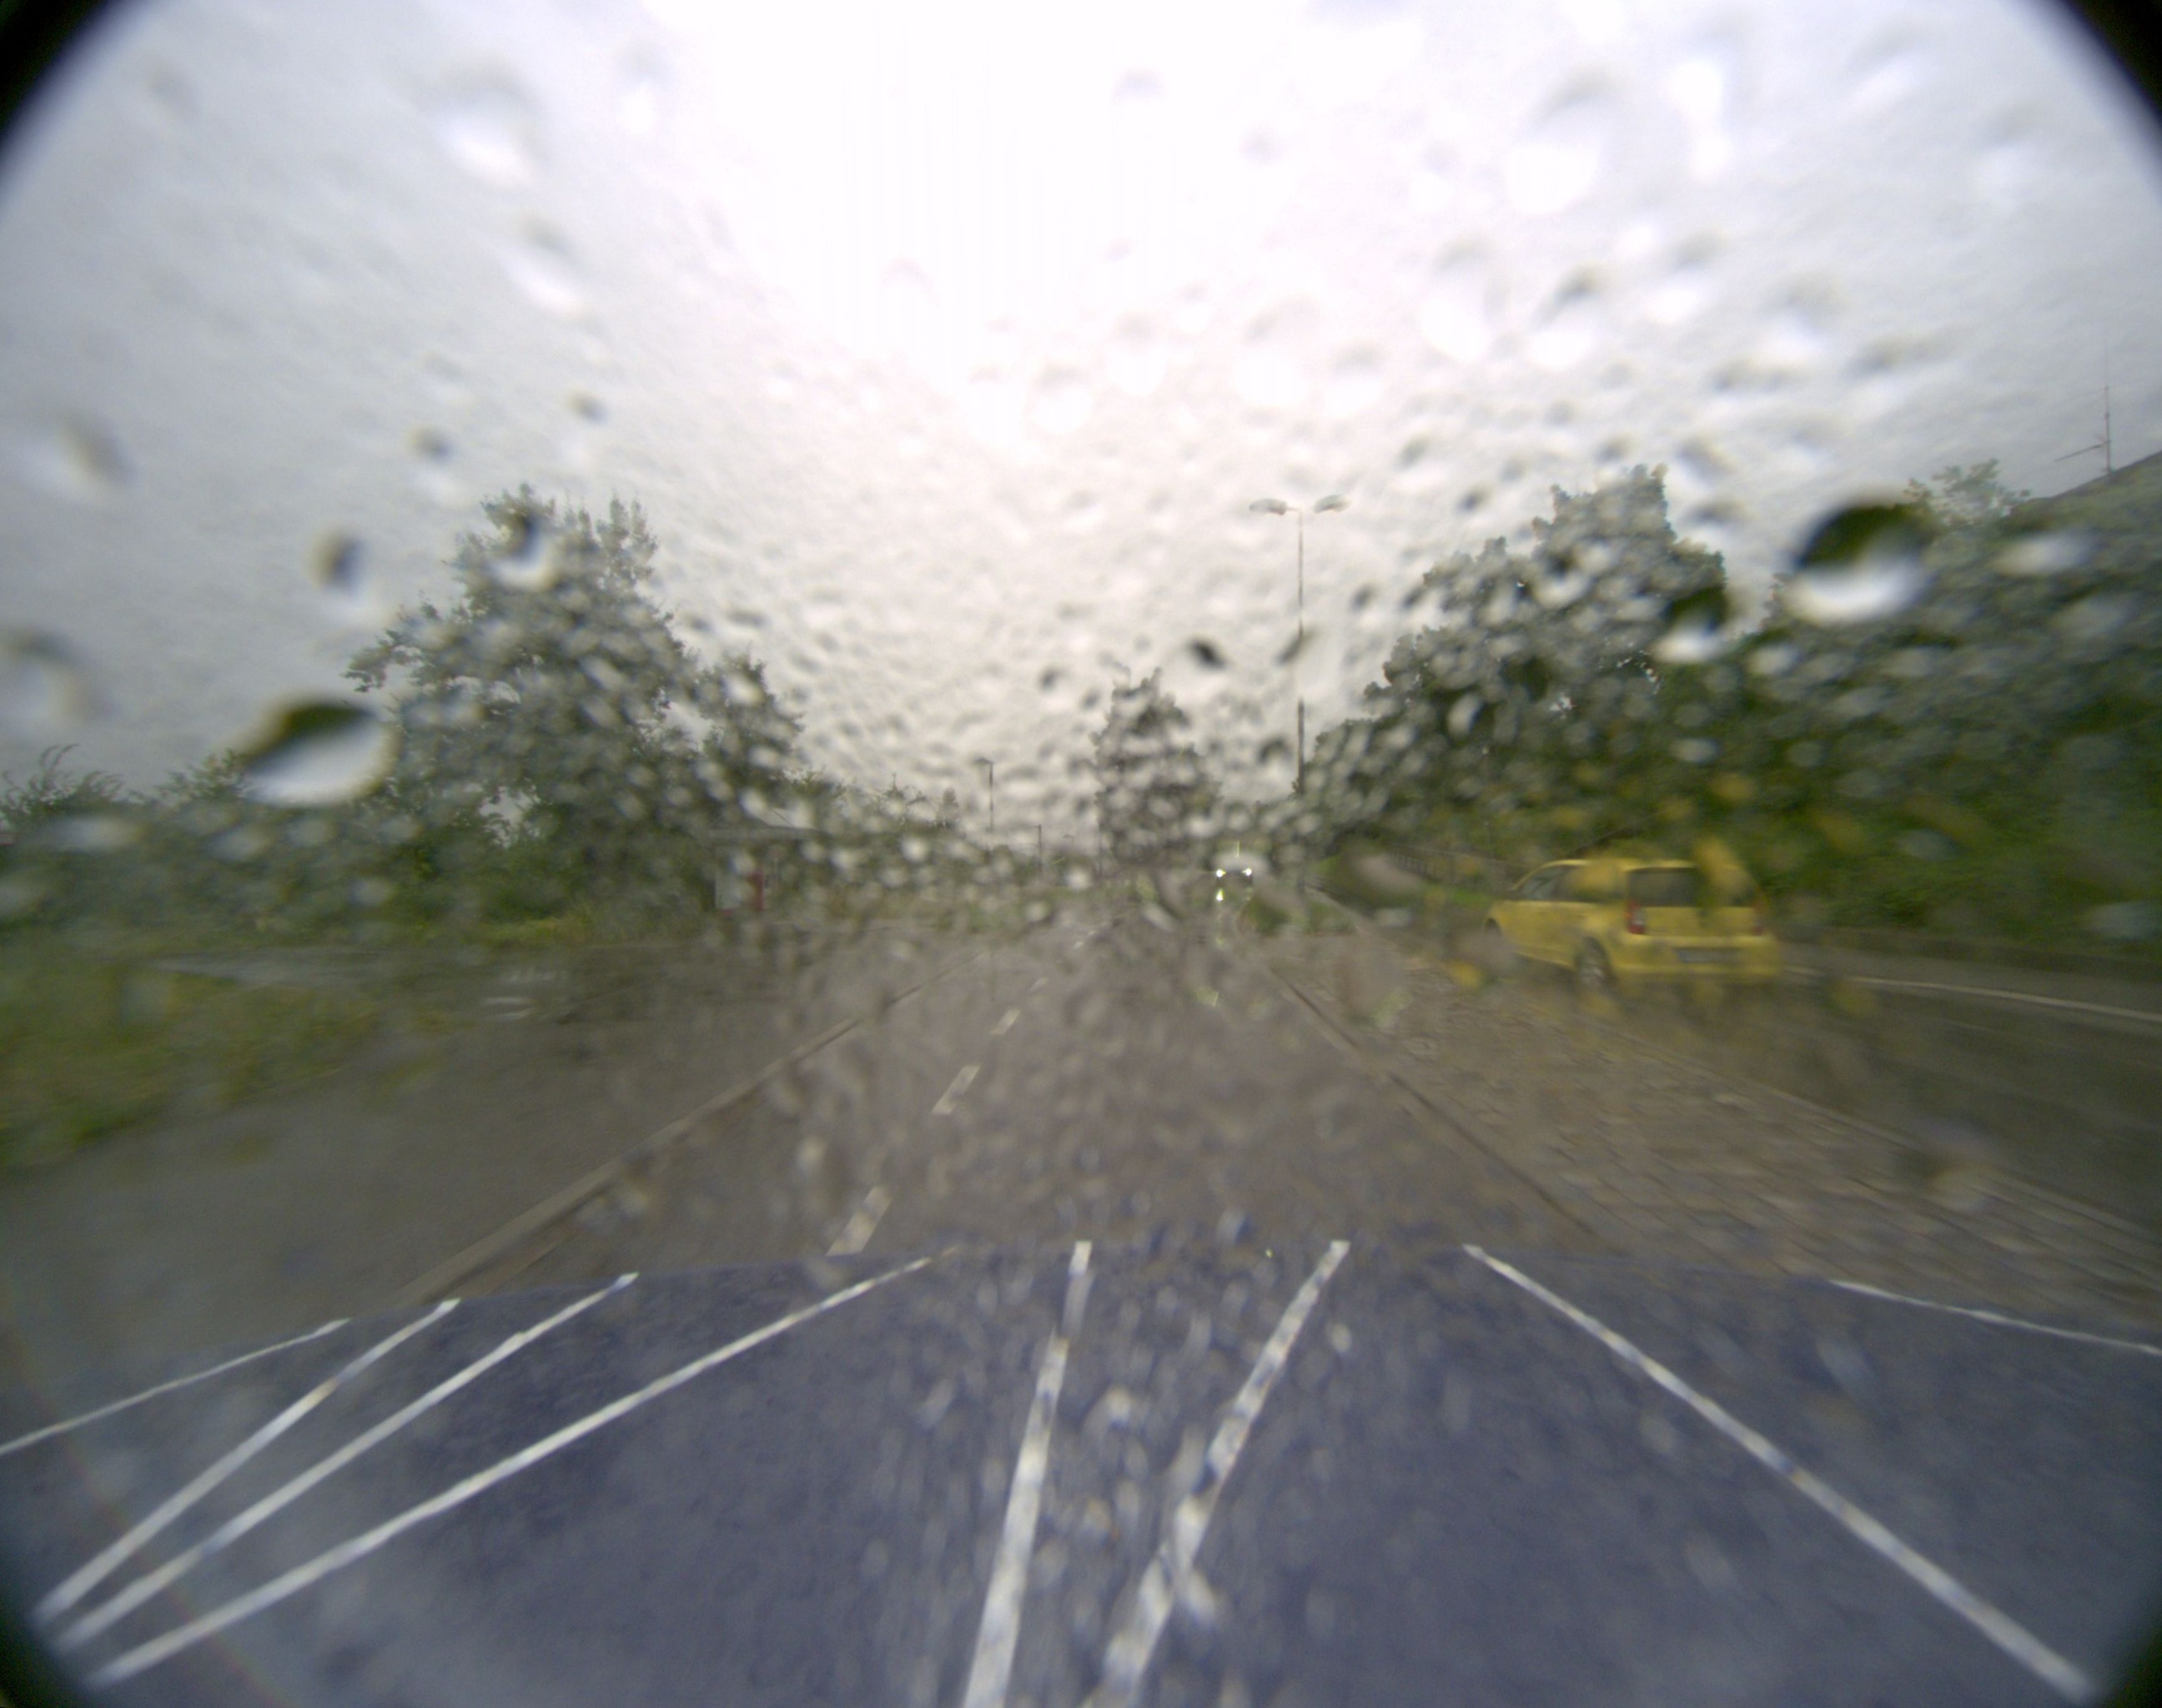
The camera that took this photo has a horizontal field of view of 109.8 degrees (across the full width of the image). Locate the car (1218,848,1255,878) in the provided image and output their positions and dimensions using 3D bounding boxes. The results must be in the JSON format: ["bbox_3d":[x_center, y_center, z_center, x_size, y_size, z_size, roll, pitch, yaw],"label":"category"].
[{"bbox_3d":[8.186,0.499,39.877,1.763,1.477,3.796,0,-2,14],"label":"car"}]

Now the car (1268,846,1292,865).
[{"bbox_3d":[16.450,0.067,63.071,1.763,1.494,4.145,1,1,12],"label":"car"}]

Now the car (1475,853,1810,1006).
[{"bbox_3d":[6.184,0.703,8.906,1.575,1.402,3.475,1,0,5],"label":"car"}]
